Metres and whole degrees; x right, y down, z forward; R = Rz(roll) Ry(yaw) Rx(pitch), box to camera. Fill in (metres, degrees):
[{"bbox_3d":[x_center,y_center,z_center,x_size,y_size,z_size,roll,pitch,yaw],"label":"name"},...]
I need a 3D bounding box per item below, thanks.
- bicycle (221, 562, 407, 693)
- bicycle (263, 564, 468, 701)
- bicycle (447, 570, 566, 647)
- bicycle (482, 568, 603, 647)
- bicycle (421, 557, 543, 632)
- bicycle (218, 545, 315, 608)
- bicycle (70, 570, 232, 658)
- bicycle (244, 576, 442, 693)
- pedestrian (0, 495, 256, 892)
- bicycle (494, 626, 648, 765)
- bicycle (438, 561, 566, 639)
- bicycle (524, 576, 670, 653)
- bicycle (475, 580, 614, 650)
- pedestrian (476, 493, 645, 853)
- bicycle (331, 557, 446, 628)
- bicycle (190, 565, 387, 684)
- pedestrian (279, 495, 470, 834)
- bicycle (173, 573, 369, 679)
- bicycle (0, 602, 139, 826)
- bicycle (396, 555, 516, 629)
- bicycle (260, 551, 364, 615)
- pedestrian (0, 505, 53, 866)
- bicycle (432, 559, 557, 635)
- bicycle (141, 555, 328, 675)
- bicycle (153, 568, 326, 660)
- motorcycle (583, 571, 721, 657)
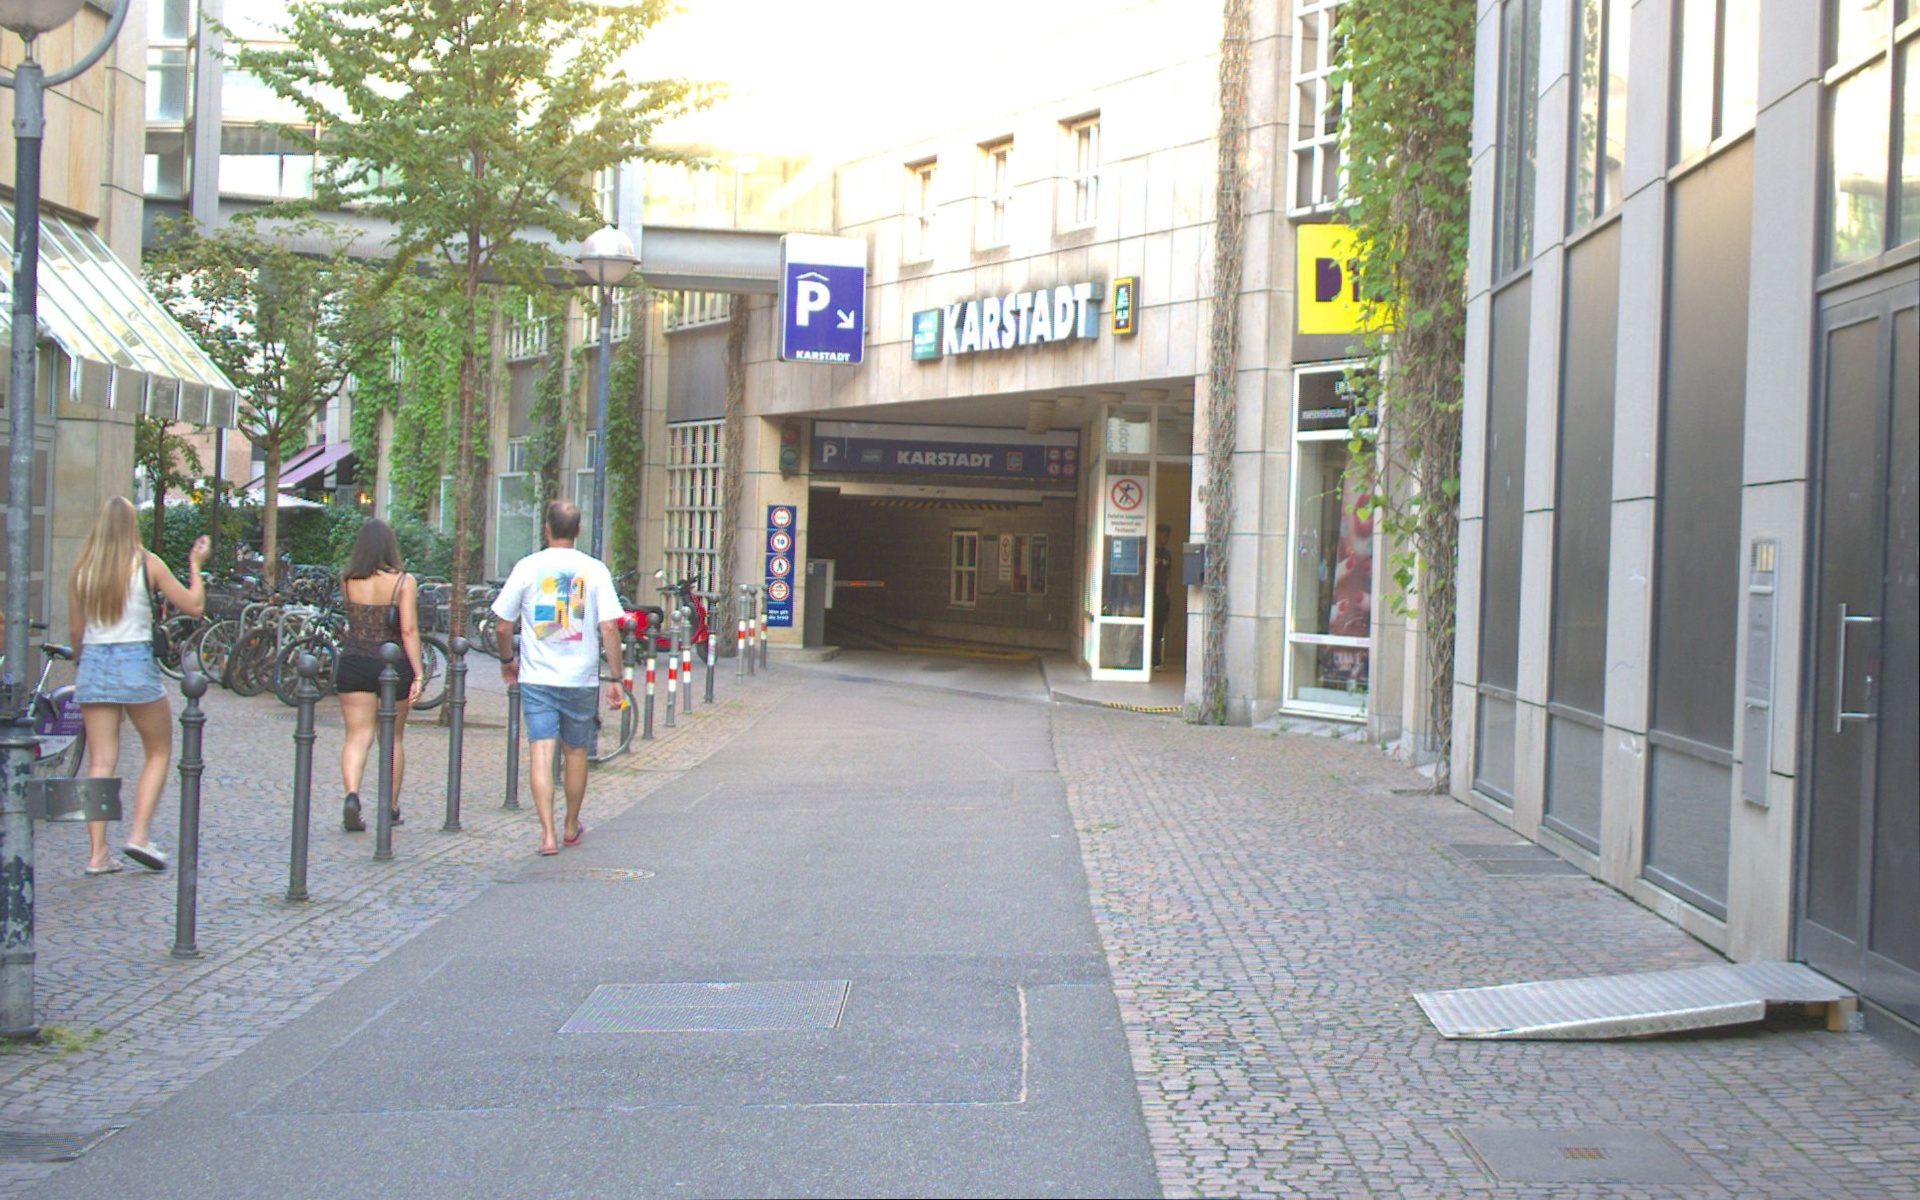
[{"bbox_3d":[-6.170,0.266,32.854,1.653,1.226,0.534,1,1,-22],"label":"bicycle"},{"bbox_3d":[-5.457,0.300,31.568,1.766,1.226,0.534,1,1,-22],"label":"bicycle"},{"bbox_3d":[-6.354,0.121,48.142,1.539,1.045,0.575,1,1,-20],"label":"bicycle"},{"bbox_3d":[-5.724,0.109,47.158,1.539,1.045,0.575,1,1,-20],"label":"bicycle"},{"bbox_3d":[-7.371,-0.083,52.997,1.773,1.110,0.543,1,1,-20],"label":"bicycle"},{"bbox_3d":[-13.576,-0.458,67.314,1.773,1.186,0.586,1,1,-20],"label":"bicycle"},{"bbox_3d":[-9.762,0.171,41.484,1.824,1.039,0.534,1,1,-22],"label":"bicycle"},{"bbox_3d":[-6.054,0.339,33.746,1.836,1.118,0.534,1,1,-22],"label":"bicycle"},{"bbox_3d":[-3.822,0.403,15.660,0.807,1.723,0.948,2,1,16],"label":"pedestrian"},{"bbox_3d":[-2.827,0.680,25.099,0.493,0.935,1.658,3,1,15],"label":"bicycle"},{"bbox_3d":[-6.753,0.007,50.716,1.773,1.110,0.543,1,1,-20],"label":"bicycle"},{"bbox_3d":[-4.785,0.193,45.348,1.847,0.979,0.464,1,1,-20],"label":"bicycle"},{"bbox_3d":[-5.582,0.207,46.207,1.773,0.901,0.464,1,1,-20],"label":"bicycle"},{"bbox_3d":[-2.075,0.363,17.937,0.742,1.816,0.878,1,1,0],"label":"pedestrian"},{"bbox_3d":[-9.355,-0.122,56.305,1.773,1.110,0.543,1,1,-20],"label":"bicycle"},{"bbox_3d":[-6.780,0.250,34.706,1.872,1.173,0.534,1,1,-22],"label":"bicycle"},{"bbox_3d":[-3.195,0.336,18.842,0.785,1.789,0.972,1,1,4],"label":"pedestrian"},{"bbox_3d":[-7.058,0.268,35.240,1.893,1.048,0.534,1,1,-22],"label":"bicycle"},{"bbox_3d":[-5.070,0.591,18.306,0.522,1.134,1.763,2,1,17],"label":"bicycle"},{"bbox_3d":[-7.913,-0.126,54.033,1.773,1.110,0.543,1,1,-20],"label":"bicycle"},{"bbox_3d":[-11.706,-0.304,62.104,1.773,1.110,0.543,1,1,-17],"label":"bicycle"},{"bbox_3d":[-4.710,0.380,15.874,0.675,1.659,0.860,2,1,8],"label":"pedestrian"},{"bbox_3d":[-7.012,-0.044,51.791,1.773,1.110,0.543,1,1,-20],"label":"bicycle"},{"bbox_3d":[-7.574,0.161,35.918,1.833,1.221,0.534,1,1,-22],"label":"bicycle"},{"bbox_3d":[-8.321,0.165,39.711,1.876,1.039,0.534,1,1,-22],"label":"bicycle"},{"bbox_3d":[-3.917,0.179,43.712,1.662,1.047,0.464,1,1,-20],"label":"motorcycle"}]
